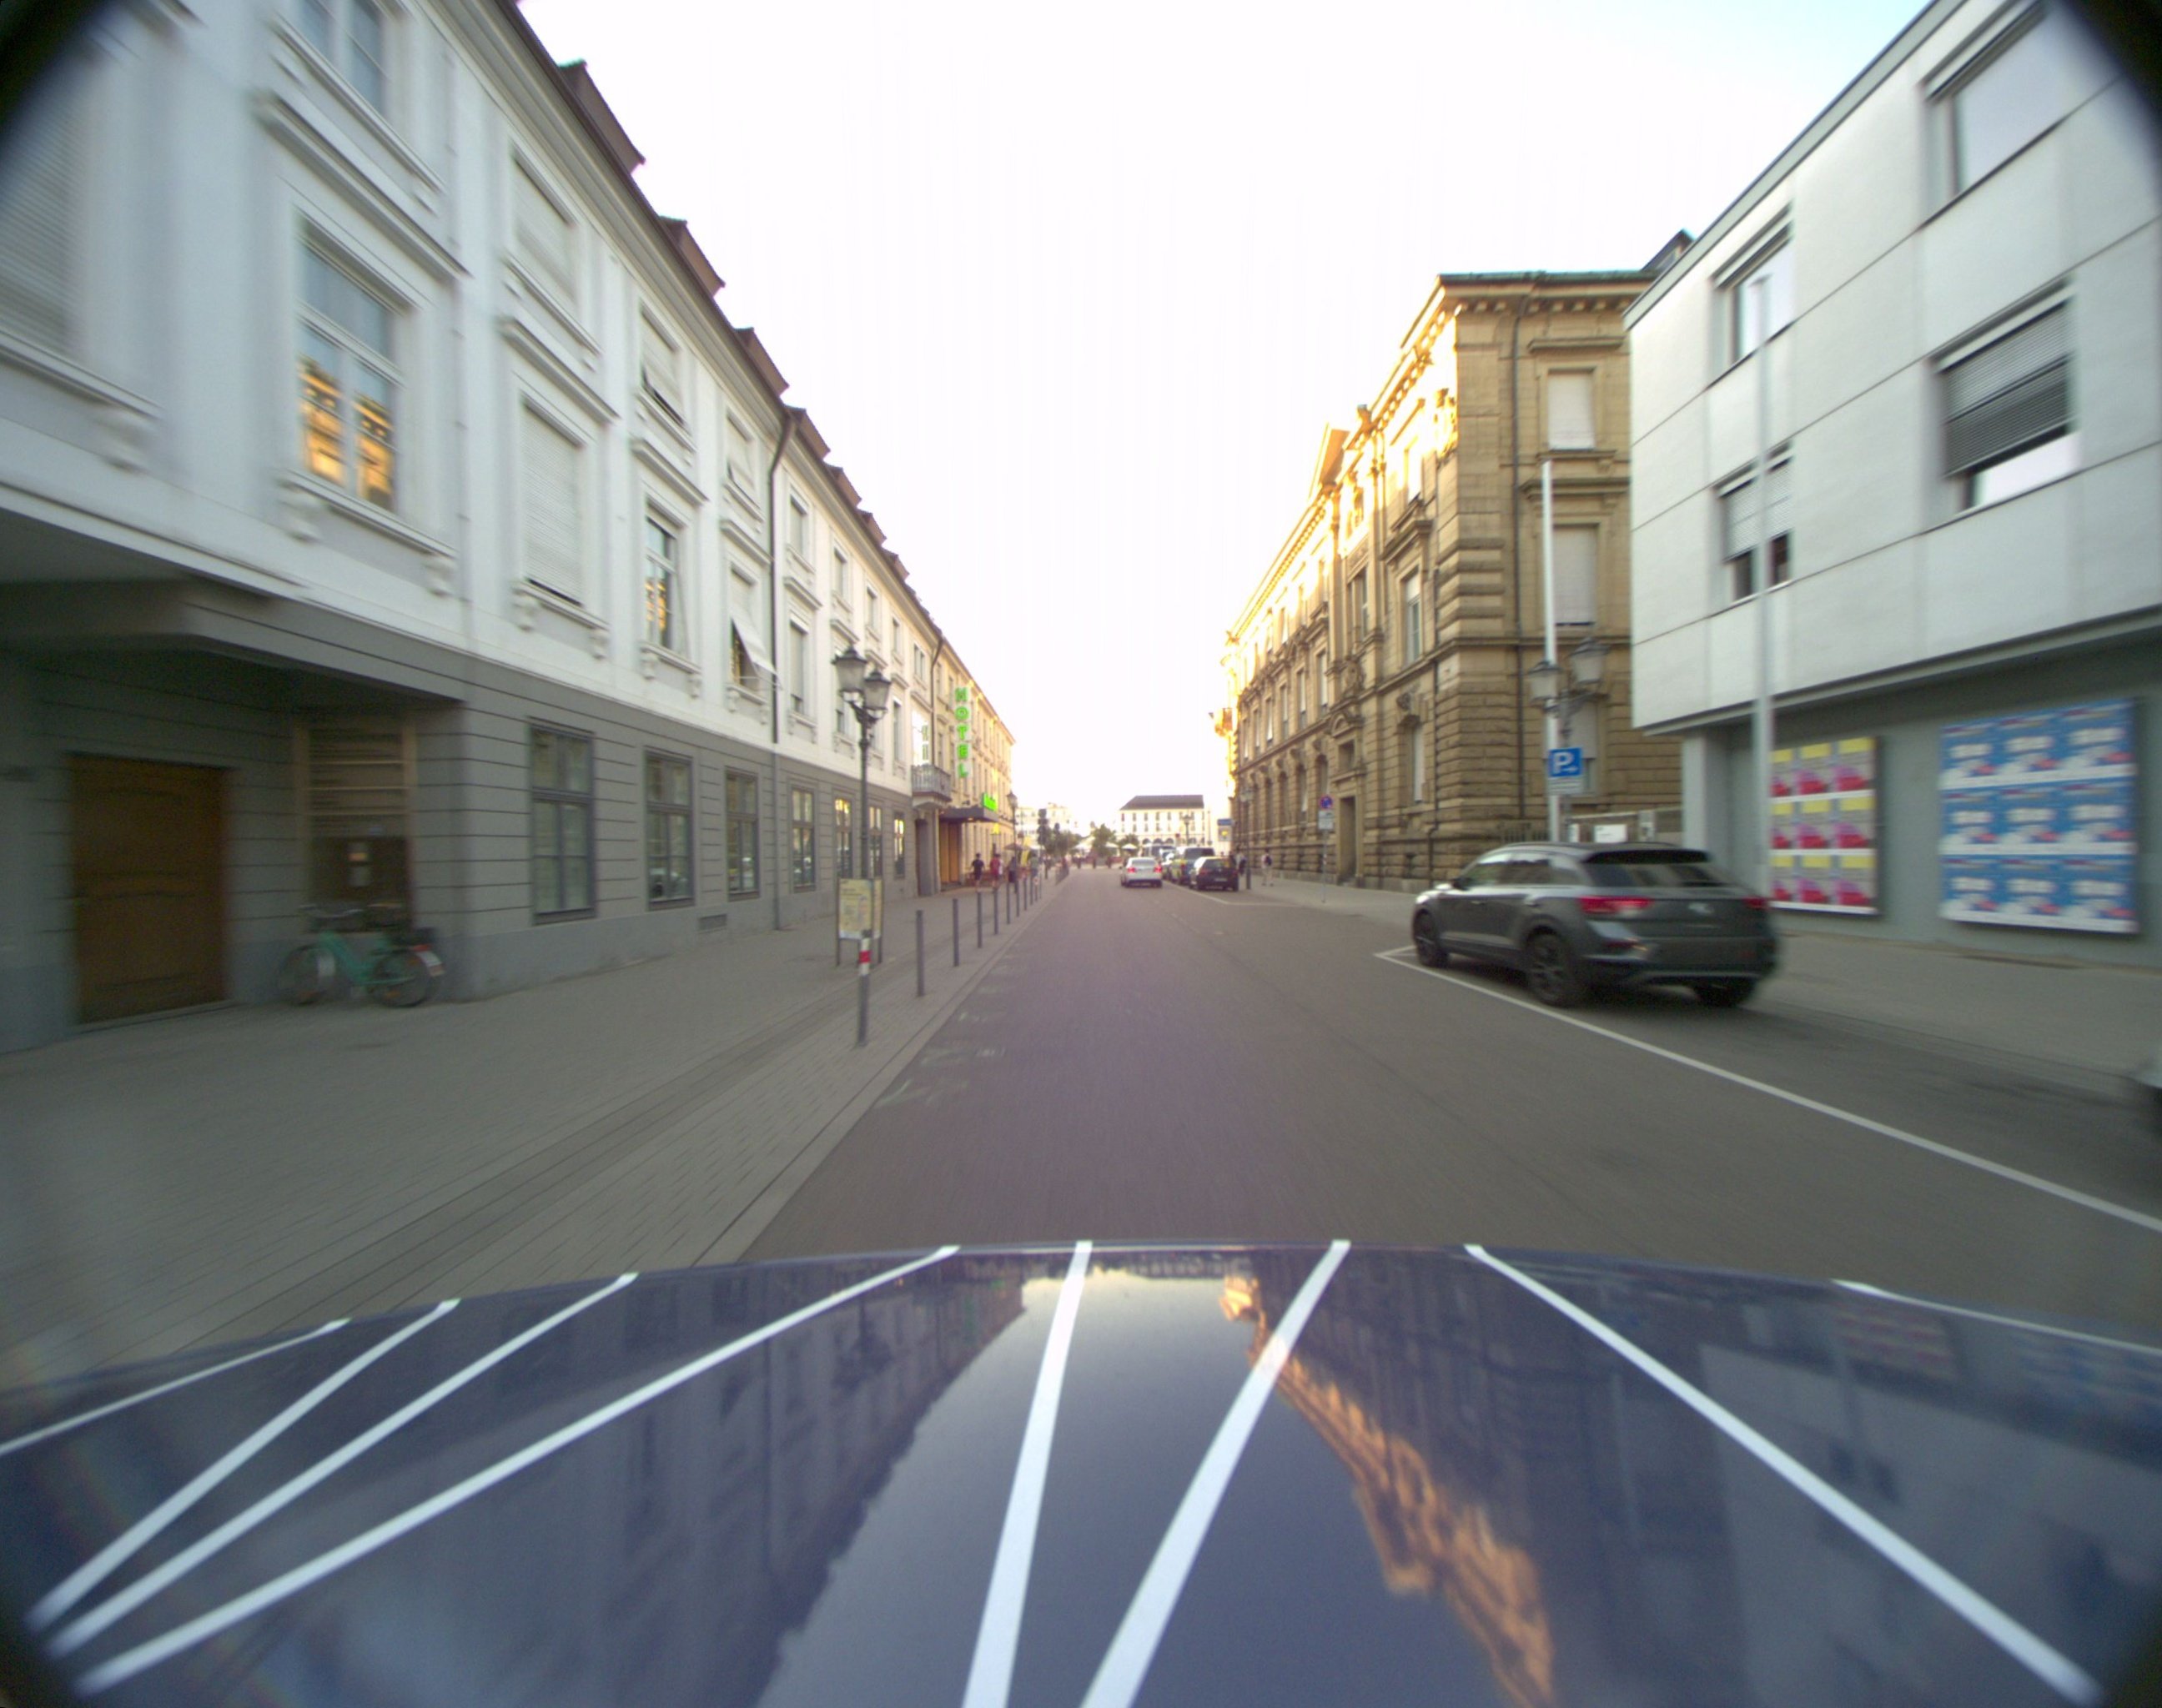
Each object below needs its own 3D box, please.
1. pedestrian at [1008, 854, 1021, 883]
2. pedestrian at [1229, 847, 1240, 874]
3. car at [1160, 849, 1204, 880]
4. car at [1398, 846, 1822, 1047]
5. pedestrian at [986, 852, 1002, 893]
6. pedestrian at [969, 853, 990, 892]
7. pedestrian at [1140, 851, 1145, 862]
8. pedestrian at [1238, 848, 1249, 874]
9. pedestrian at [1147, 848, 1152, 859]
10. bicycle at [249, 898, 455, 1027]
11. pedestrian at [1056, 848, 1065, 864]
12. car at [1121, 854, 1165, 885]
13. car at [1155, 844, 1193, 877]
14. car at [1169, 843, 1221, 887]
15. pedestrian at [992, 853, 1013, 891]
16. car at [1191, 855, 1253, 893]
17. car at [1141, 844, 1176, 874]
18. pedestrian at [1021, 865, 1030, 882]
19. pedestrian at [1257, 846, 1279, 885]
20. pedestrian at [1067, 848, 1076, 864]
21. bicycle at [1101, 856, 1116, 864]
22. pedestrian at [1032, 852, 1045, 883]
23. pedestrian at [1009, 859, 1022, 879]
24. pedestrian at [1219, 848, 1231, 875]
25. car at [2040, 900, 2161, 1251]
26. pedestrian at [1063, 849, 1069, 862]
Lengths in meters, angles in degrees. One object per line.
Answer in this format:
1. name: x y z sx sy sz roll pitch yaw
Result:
1. pedestrian: -3.746 0.830 42.796 0.631 1.591 0.615 -1 1 2
2. pedestrian: 9.923 0.394 49.114 0.583 1.720 0.831 -1 1 2
3. car: 6.033 0.586 45.795 1.998 1.742 4.989 -1 0 0
4. car: 5.160 0.747 8.246 1.789 1.605 4.166 -1 0 2
5. pedestrian: -3.890 0.806 33.865 0.622 1.779 0.913 -1 1 -8
6. pedestrian: -4.612 0.832 34.563 0.715 1.720 0.873 -1 1 3
7. pedestrian: 9.749 0.349 120.640 0.856 1.720 0.881 -1 1 4
8. pedestrian: 10.541 0.453 49.295 0.608 1.720 0.703 -1 1 2
9. pedestrian: 10.833 -0.021 120.270 0.856 1.720 0.881 -1 1 4
10. bicycle: -7.579 1.110 7.933 1.661 1.245 0.439 -1 1 -2
11. pedestrian: -2.253 0.253 82.359 0.607 1.720 0.719 -1 1 44
12. car: 2.930 0.713 36.784 1.789 1.400 4.088 -1 0 0
13. car: 6.170 0.378 51.087 1.998 2.075 5.207 -1 1 1
14. car: 5.860 0.503 39.579 1.998 2.065 4.989 -1 1 0
15. pedestrian: -3.607 0.820 34.939 0.749 1.720 0.881 -1 1 4
16. car: 6.041 0.812 32.993 1.998 1.486 4.164 -1 0 1
17. car: 5.896 0.339 58.340 1.999 2.158 5.206 -1 0 -2
18. pedestrian: -3.109 1.090 42.662 0.461 0.974 0.558 -1 1 2
19. pedestrian: 8.739 0.527 35.498 0.715 1.720 0.896 -4 0 2
20. pedestrian: -1.027 0.200 82.555 0.667 1.720 0.767 -1 1 44
21. bicycle: 3.644 0.801 100.904 1.683 1.115 0.846 -1 1 35
22. pedestrian: -2.421 0.778 43.264 0.608 1.720 0.558 -1 1 2
23. pedestrian: -4.730 1.066 54.514 0.777 1.351 0.723 -1 1 -15
24. pedestrian: 9.284 0.461 48.965 0.575 1.720 0.744 -1 1 2
25. car: 5.236 0.909 1.423 1.789 1.400 4.088 -1 0 2
26. pedestrian: -1.883 0.211 95.994 0.683 1.557 0.653 -1 1 -1
